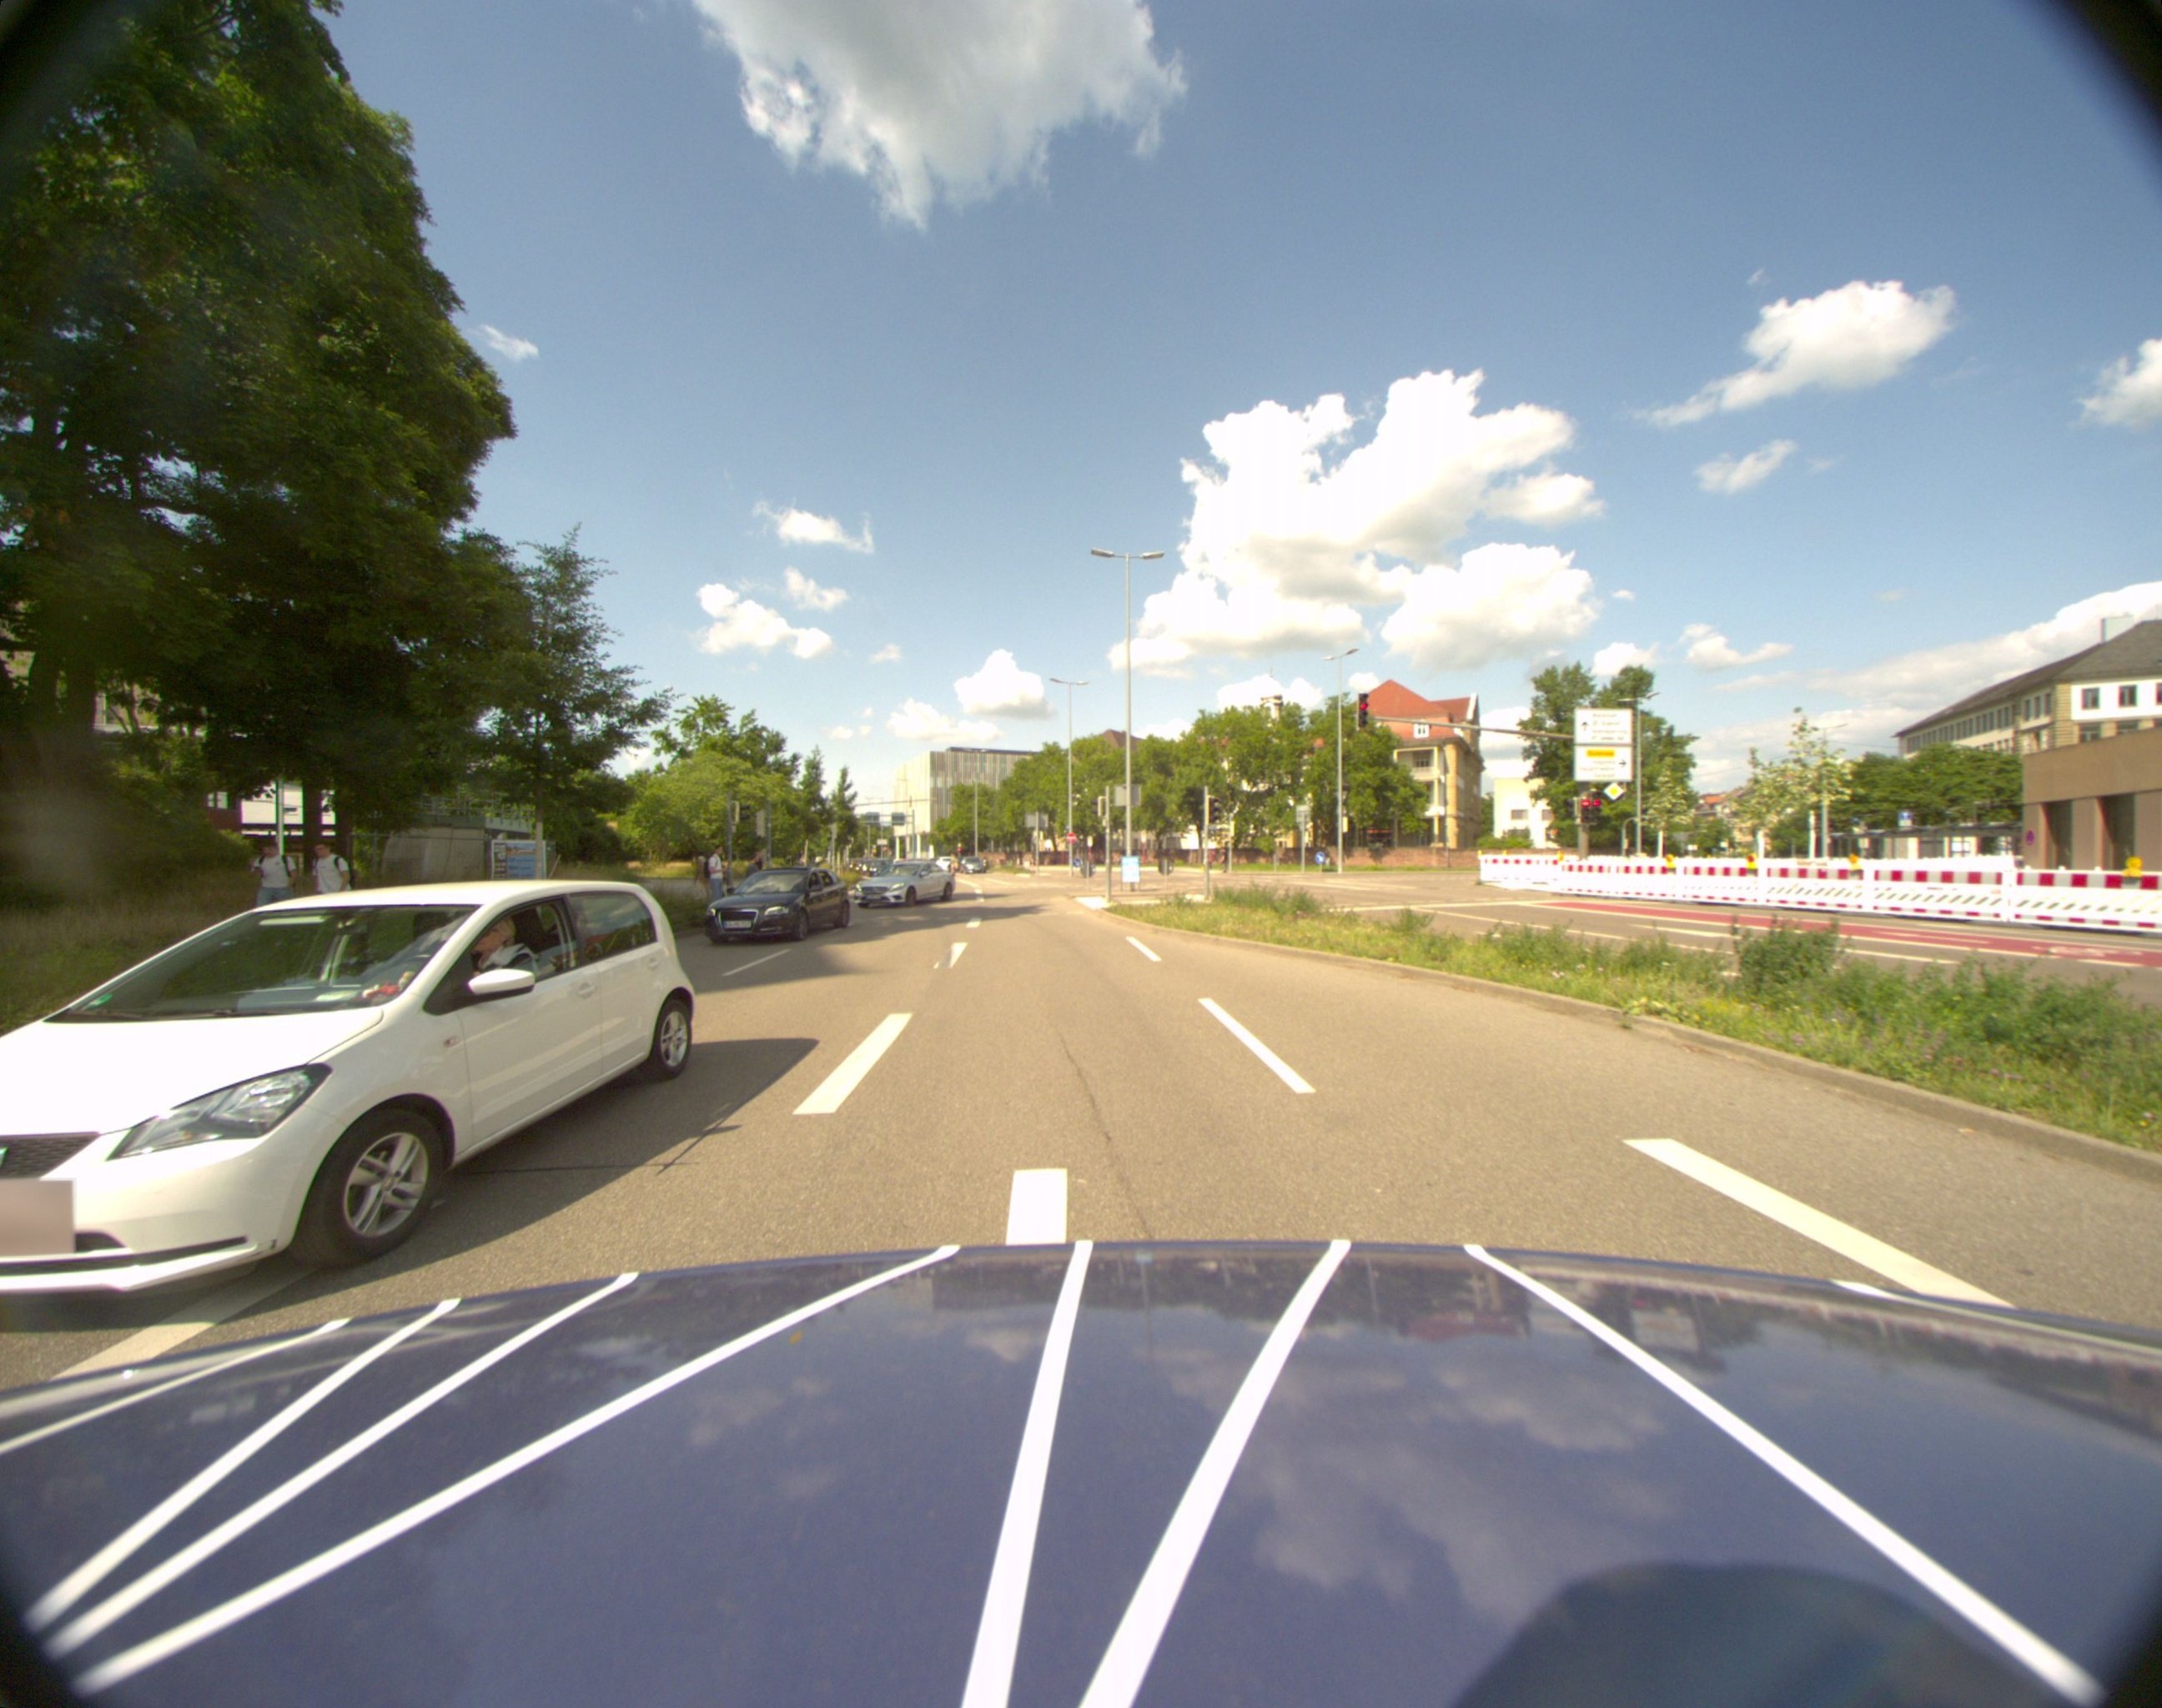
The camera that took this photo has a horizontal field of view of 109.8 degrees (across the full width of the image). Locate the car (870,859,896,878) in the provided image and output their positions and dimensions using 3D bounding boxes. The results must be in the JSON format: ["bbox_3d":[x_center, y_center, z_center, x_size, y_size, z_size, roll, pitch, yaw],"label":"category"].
[{"bbox_3d":[-16.199,1.147,62.348,1.827,1.454,3.995,-1,0,-12],"label":"car"}]

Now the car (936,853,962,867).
[{"bbox_3d":[-13.719,0.636,78.828,1.781,1.346,3.992,-2,1,-23],"label":"car"}]

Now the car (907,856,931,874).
[{"bbox_3d":[-13.736,0.892,64.270,1.828,1.454,3.995,-1,0,-15],"label":"car"}]

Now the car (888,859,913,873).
[{"bbox_3d":[-16.344,1.054,68.768,1.600,1.127,3.622,-1,0,-23],"label":"car"}]

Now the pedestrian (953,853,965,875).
[{"bbox_3d":[-9.670,0.767,60.174,0.739,1.704,0.874,-3,1,-22],"label":"pedestrian"}]

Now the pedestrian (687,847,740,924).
[{"bbox_3d":[-9.932,0.838,20.578,0.965,2.002,0.768,-2,1,-2],"label":"pedestrian"}]

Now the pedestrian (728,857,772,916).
[{"bbox_3d":[-10.077,0.974,23.165,0.928,1.725,0.768,-2,1,-2],"label":"pedestrian"}]

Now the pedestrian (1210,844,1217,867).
[{"bbox_3d":[10.354,0.124,59.440,0.369,1.722,0.451,-2,1,2],"label":"pedestrian"}]

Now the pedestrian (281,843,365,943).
[{"bbox_3d":[-13.446,0.667,13.500,0.616,1.690,0.889,2,1,-5],"label":"pedestrian"}]

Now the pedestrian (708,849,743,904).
[{"bbox_3d":[-11.520,0.711,24.638,0.768,1.725,0.718,-2,1,-8],"label":"pedestrian"}]

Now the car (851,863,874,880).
[{"bbox_3d":[-19.752,1.564,68.801,1.827,1.454,3.995,-1,0,-13],"label":"car"}]

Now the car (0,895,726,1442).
[{"bbox_3d":[-3.691,1.064,4.263,1.654,1.413,3.999,0,0,-3],"label":"car"}]

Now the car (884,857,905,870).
[{"bbox_3d":[-18.413,0.927,75.113,1.911,1.127,4.096,-1,2,-13],"label":"car"}]

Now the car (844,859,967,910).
[{"bbox_3d":[-5.758,0.956,25.616,1.933,1.447,4.764,-1,0,16],"label":"car"}]

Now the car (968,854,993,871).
[{"bbox_3d":[-8.661,0.724,65.208,2.000,1.368,4.265,-2,1,-10],"label":"car"}]

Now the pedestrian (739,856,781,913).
[{"bbox_3d":[-10.094,0.944,23.941,0.928,1.725,0.768,-2,1,-2],"label":"pedestrian"}]

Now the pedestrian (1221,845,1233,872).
[{"bbox_3d":[11.143,0.345,57.844,0.582,1.982,0.621,-3,1,-27],"label":"pedestrian"}]

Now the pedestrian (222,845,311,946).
[{"bbox_3d":[-14.212,0.703,13.279,0.616,1.690,0.889,2,1,-5],"label":"pedestrian"}]

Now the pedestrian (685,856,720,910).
[{"bbox_3d":[-12.401,0.940,24.914,0.768,1.725,0.718,-2,1,-8],"label":"pedestrian"}]

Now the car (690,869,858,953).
[{"bbox_3d":[-6.174,1.079,15.839,1.703,1.364,4.132,-1,1,1],"label":"car"}]

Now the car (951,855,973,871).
[{"bbox_3d":[-11.270,0.842,71.967,1.734,1.327,3.784,-2,1,-13],"label":"car"}]
